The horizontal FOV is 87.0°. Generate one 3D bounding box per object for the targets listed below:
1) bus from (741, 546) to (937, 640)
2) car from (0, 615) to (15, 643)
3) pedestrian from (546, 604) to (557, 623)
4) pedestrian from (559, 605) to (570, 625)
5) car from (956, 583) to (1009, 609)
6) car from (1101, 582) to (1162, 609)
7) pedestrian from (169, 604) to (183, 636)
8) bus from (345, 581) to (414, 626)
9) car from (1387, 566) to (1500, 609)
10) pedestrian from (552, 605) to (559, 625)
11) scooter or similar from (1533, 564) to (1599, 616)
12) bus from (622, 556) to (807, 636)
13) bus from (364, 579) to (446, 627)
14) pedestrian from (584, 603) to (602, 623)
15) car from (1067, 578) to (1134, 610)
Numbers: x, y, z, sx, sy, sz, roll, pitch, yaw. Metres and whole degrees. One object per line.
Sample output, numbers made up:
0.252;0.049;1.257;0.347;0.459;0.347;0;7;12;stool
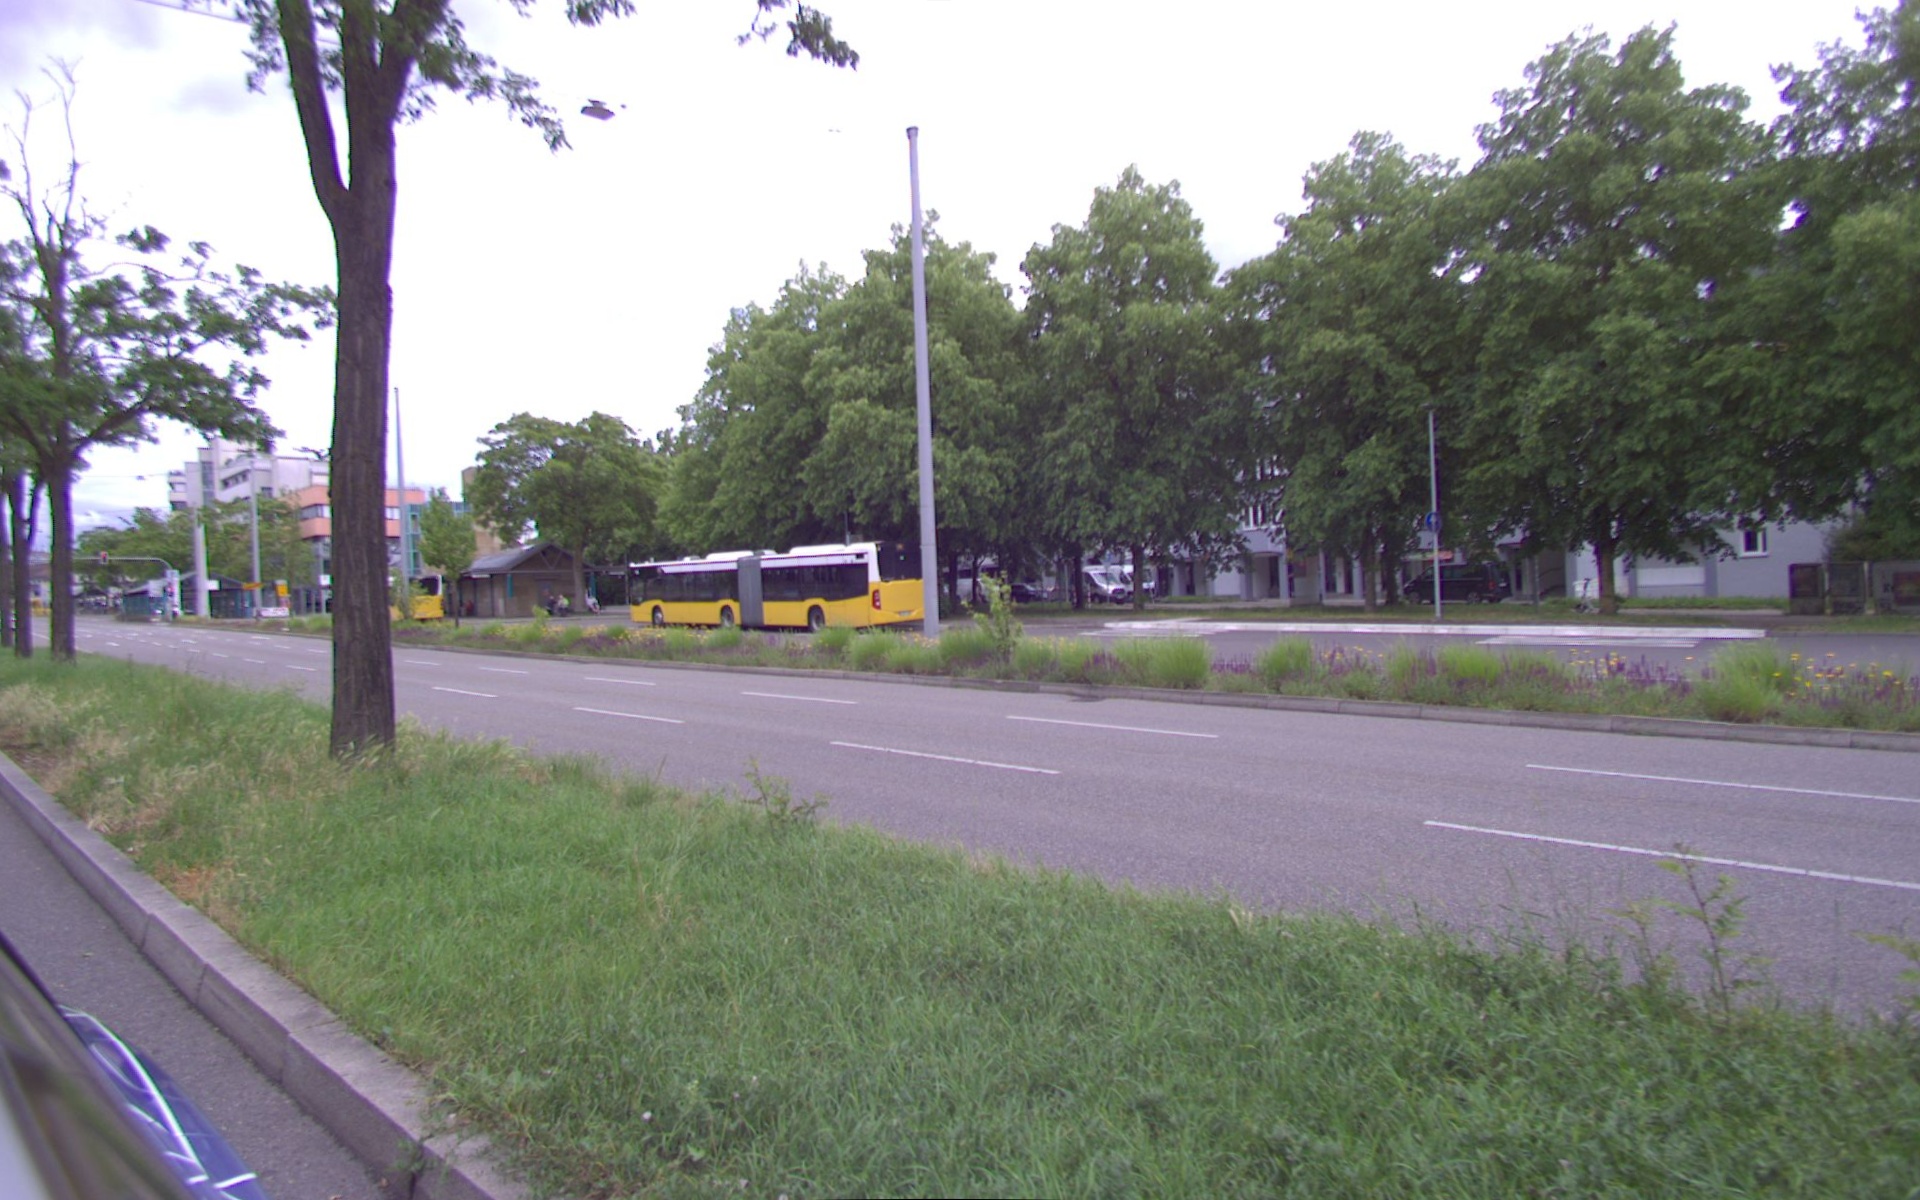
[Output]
-4.528;-0.174;36.391;2.848;3.025;7.890;-2;0;-43;bus
-70.276;2.125;73.886;4.001;2.029;1.703;-2;0;44;car
-25.138;0.827;62.264;0.589;1.171;0.745;-1;0;-26;pedestrian
-23.690;0.896;60.629;0.589;1.171;0.745;-1;0;-22;pedestrian
1.521;-0.272;71.028;1.663;1.763;4.010;-2;0;-35;car
11.320;-0.271;67.024;1.751;1.652;4.012;-2;0;-31;car
-68.404;1.725;88.270;0.889;2.809;1.150;-1;0;-36;pedestrian
-41.842;0.311;72.788;2.845;3.025;9.193;-2;0;-39;bus
22.440;-0.549;47.144;1.758;1.861;4.429;-2;0;-34;car
-24.160;0.905;60.423;0.361;1.175;0.900;-1;0;-22;pedestrian
20.393;-0.335;34.122;1.840;1.676;0.647;-2;0;30;scooter or similar
-10.703;-0.090;43.040;2.848;3.025;10.403;-2;0;-43;bus
-36.192;0.249;65.803;2.846;2.830;9.190;-2;0;-40;bus
-22.250;0.790;61.361;0.925;1.180;0.641;-1;0;42;pedestrian
8.302;-0.338;60.121;1.663;1.763;4.010;-2;0;-35;car
